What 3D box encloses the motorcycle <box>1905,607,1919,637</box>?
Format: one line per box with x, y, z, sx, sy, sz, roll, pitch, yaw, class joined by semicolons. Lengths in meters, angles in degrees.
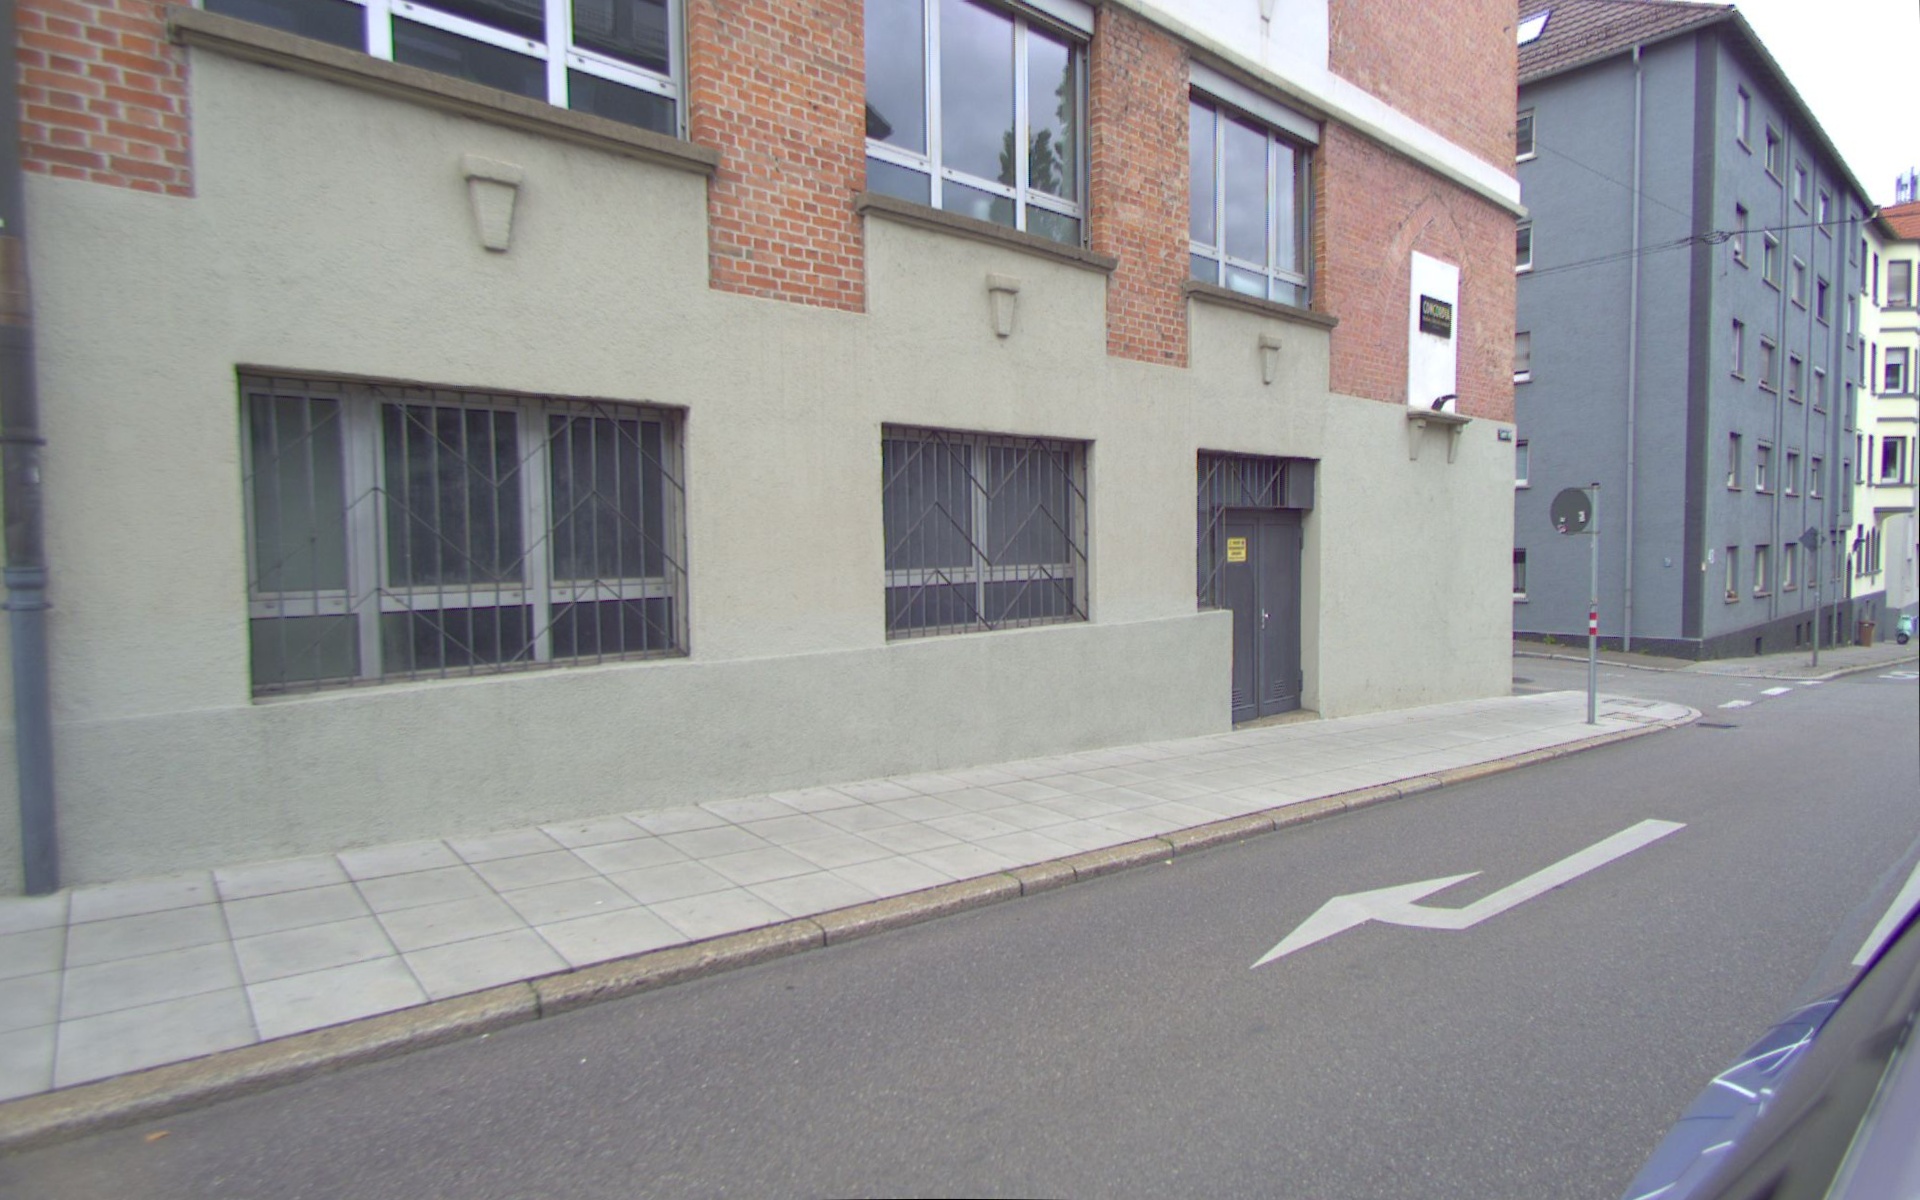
37.720;0.875;39.767;1.624;1.125;0.566;0;6;-40;motorcycle
